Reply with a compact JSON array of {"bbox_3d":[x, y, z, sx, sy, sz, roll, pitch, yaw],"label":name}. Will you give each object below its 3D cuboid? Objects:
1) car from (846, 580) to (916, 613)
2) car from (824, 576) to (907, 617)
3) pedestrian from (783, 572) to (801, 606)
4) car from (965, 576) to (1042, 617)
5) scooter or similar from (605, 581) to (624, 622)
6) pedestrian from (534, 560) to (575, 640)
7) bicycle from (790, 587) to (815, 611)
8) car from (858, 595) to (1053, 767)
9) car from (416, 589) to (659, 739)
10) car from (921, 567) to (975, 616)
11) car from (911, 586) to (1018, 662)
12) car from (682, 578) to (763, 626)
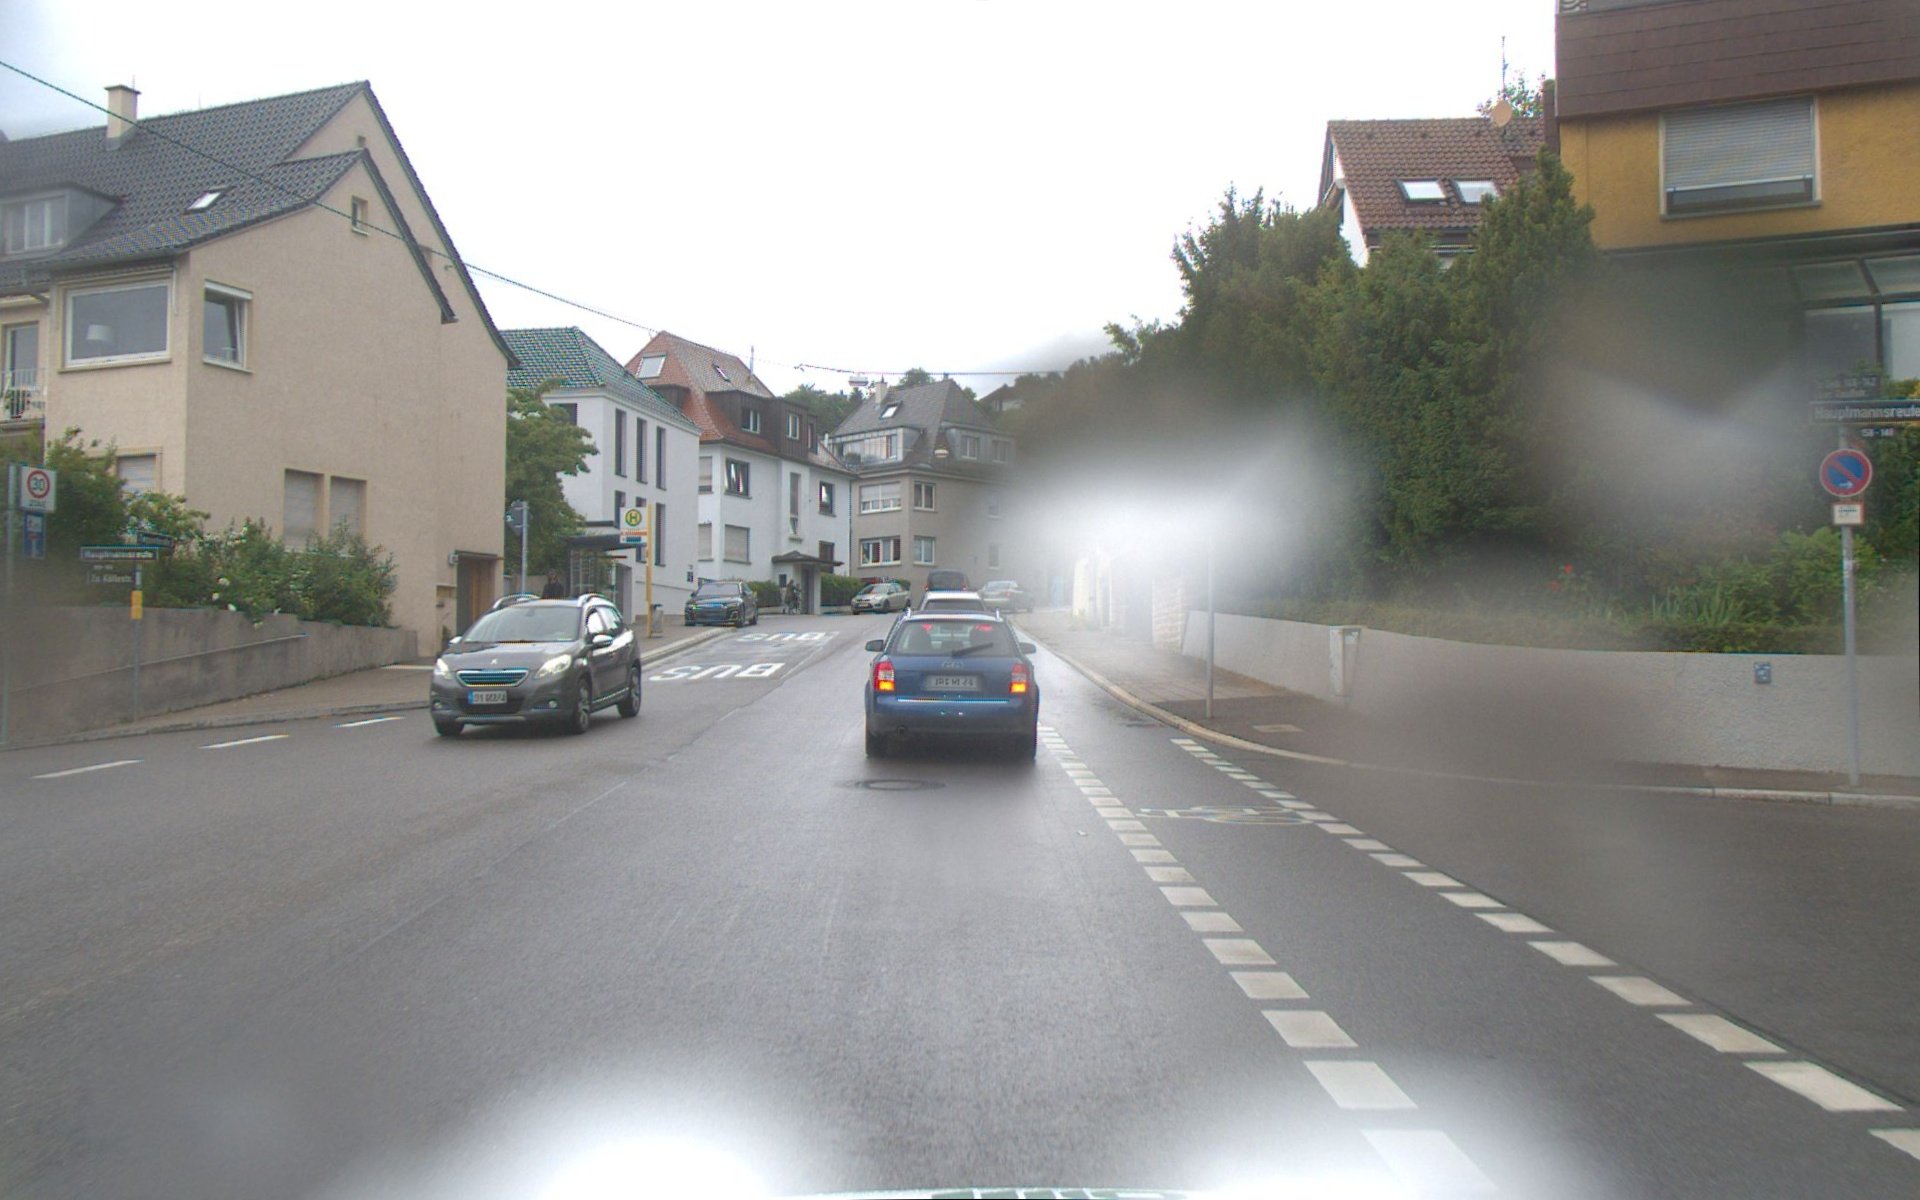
[{"bbox_3d":[-3.805,-0.193,80.314,1.798,1.450,4.230,-2,0,21],"label":"car"},{"bbox_3d":[-5.133,-0.199,89.450,3.910,1.854,1.998,-6,-1,27],"label":"car"},{"bbox_3d":[-7.769,-0.513,76.701,0.482,1.604,0.948,0,1,17],"label":"pedestrian"},{"bbox_3d":[1.964,-0.185,73.593,1.890,1.735,3.996,-1,0,27],"label":"car"},{"bbox_3d":[-10.468,0.043,50.059,0.330,1.241,1.123,0,1,0],"label":"scooter or similar"},{"bbox_3d":[-9.715,-0.009,39.645,0.770,1.889,0.728,1,0,-1],"label":"pedestrian"},{"bbox_3d":[-7.298,-0.059,76.631,0.446,1.085,1.923,0,1,17],"label":"bicycle"},{"bbox_3d":[-0.051,0.746,17.321,1.774,1.464,4.081,1,1,0],"label":"car"},{"bbox_3d":[-4.914,0.687,19.790,1.697,1.572,4.001,-2,0,2],"label":"car"},{"bbox_3d":[-0.458,-0.321,61.243,1.889,1.735,3.999,-1,0,-1],"label":"car"},{"bbox_3d":[0.036,0.468,33.386,1.776,1.384,3.996,1,0,-5],"label":"car"},{"bbox_3d":[-7.829,0.050,54.987,1.791,1.511,4.992,-1,0,2],"label":"car"}]
